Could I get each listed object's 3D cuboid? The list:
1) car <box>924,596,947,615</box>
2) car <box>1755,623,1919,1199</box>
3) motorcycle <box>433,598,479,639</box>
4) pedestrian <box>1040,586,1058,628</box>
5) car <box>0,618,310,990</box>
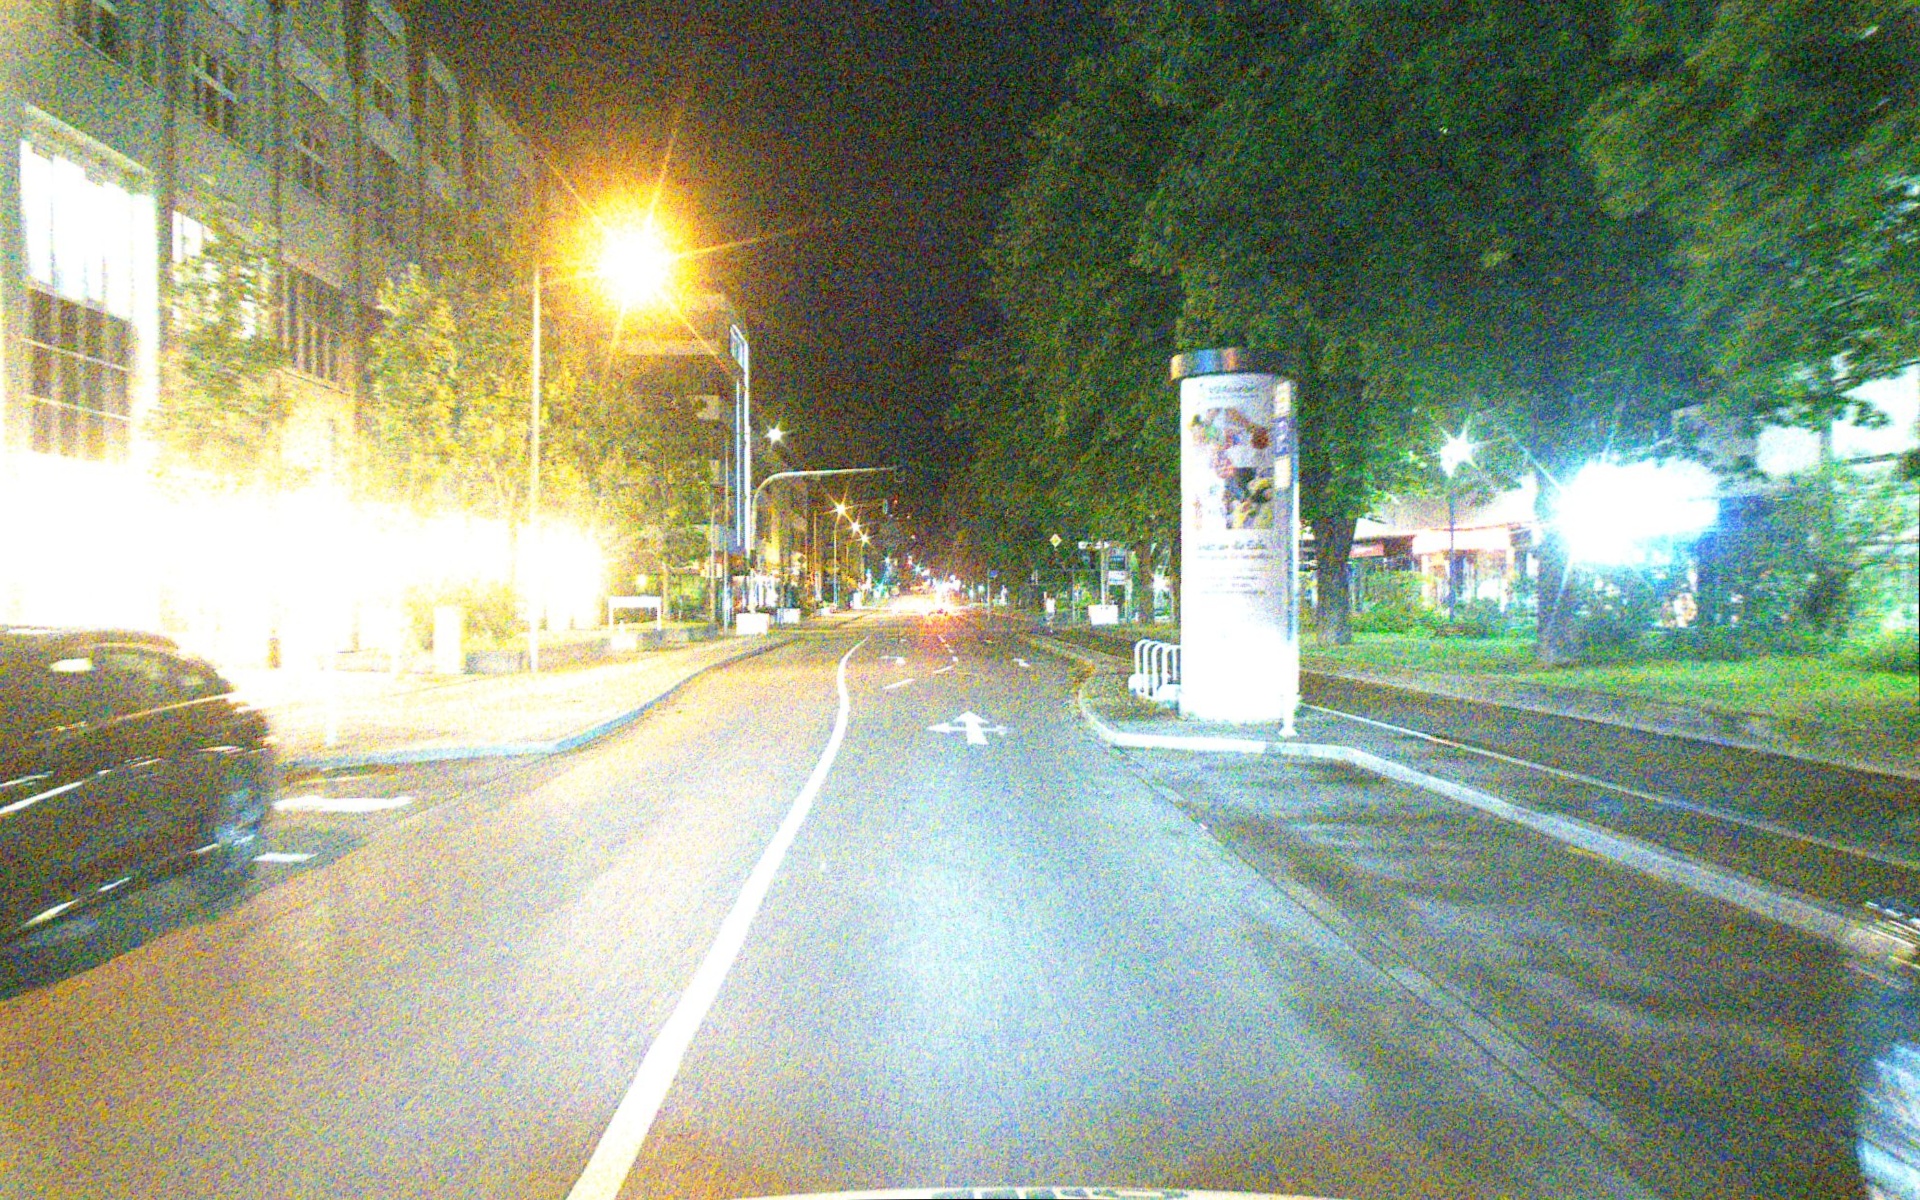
[{"bbox_3d":[-2.229,0.477,150.379,1.953,1.672,3.999,-2,0,-2],"label":"car"},{"bbox_3d":[2.995,0.779,1.950,1.728,1.439,4.807,-1,0,-1],"label":"car"},{"bbox_3d":[-13.182,0.471,43.274,0.468,1.038,1.676,0,0,9],"label":"motorcycle"},{"bbox_3d":[3.971,0.313,73.496,0.688,1.850,1.081,-1,0,-1],"label":"pedestrian"},{"bbox_3d":[-4.731,0.842,7.674,1.706,1.438,4.494,0,0,-1],"label":"car"}]
